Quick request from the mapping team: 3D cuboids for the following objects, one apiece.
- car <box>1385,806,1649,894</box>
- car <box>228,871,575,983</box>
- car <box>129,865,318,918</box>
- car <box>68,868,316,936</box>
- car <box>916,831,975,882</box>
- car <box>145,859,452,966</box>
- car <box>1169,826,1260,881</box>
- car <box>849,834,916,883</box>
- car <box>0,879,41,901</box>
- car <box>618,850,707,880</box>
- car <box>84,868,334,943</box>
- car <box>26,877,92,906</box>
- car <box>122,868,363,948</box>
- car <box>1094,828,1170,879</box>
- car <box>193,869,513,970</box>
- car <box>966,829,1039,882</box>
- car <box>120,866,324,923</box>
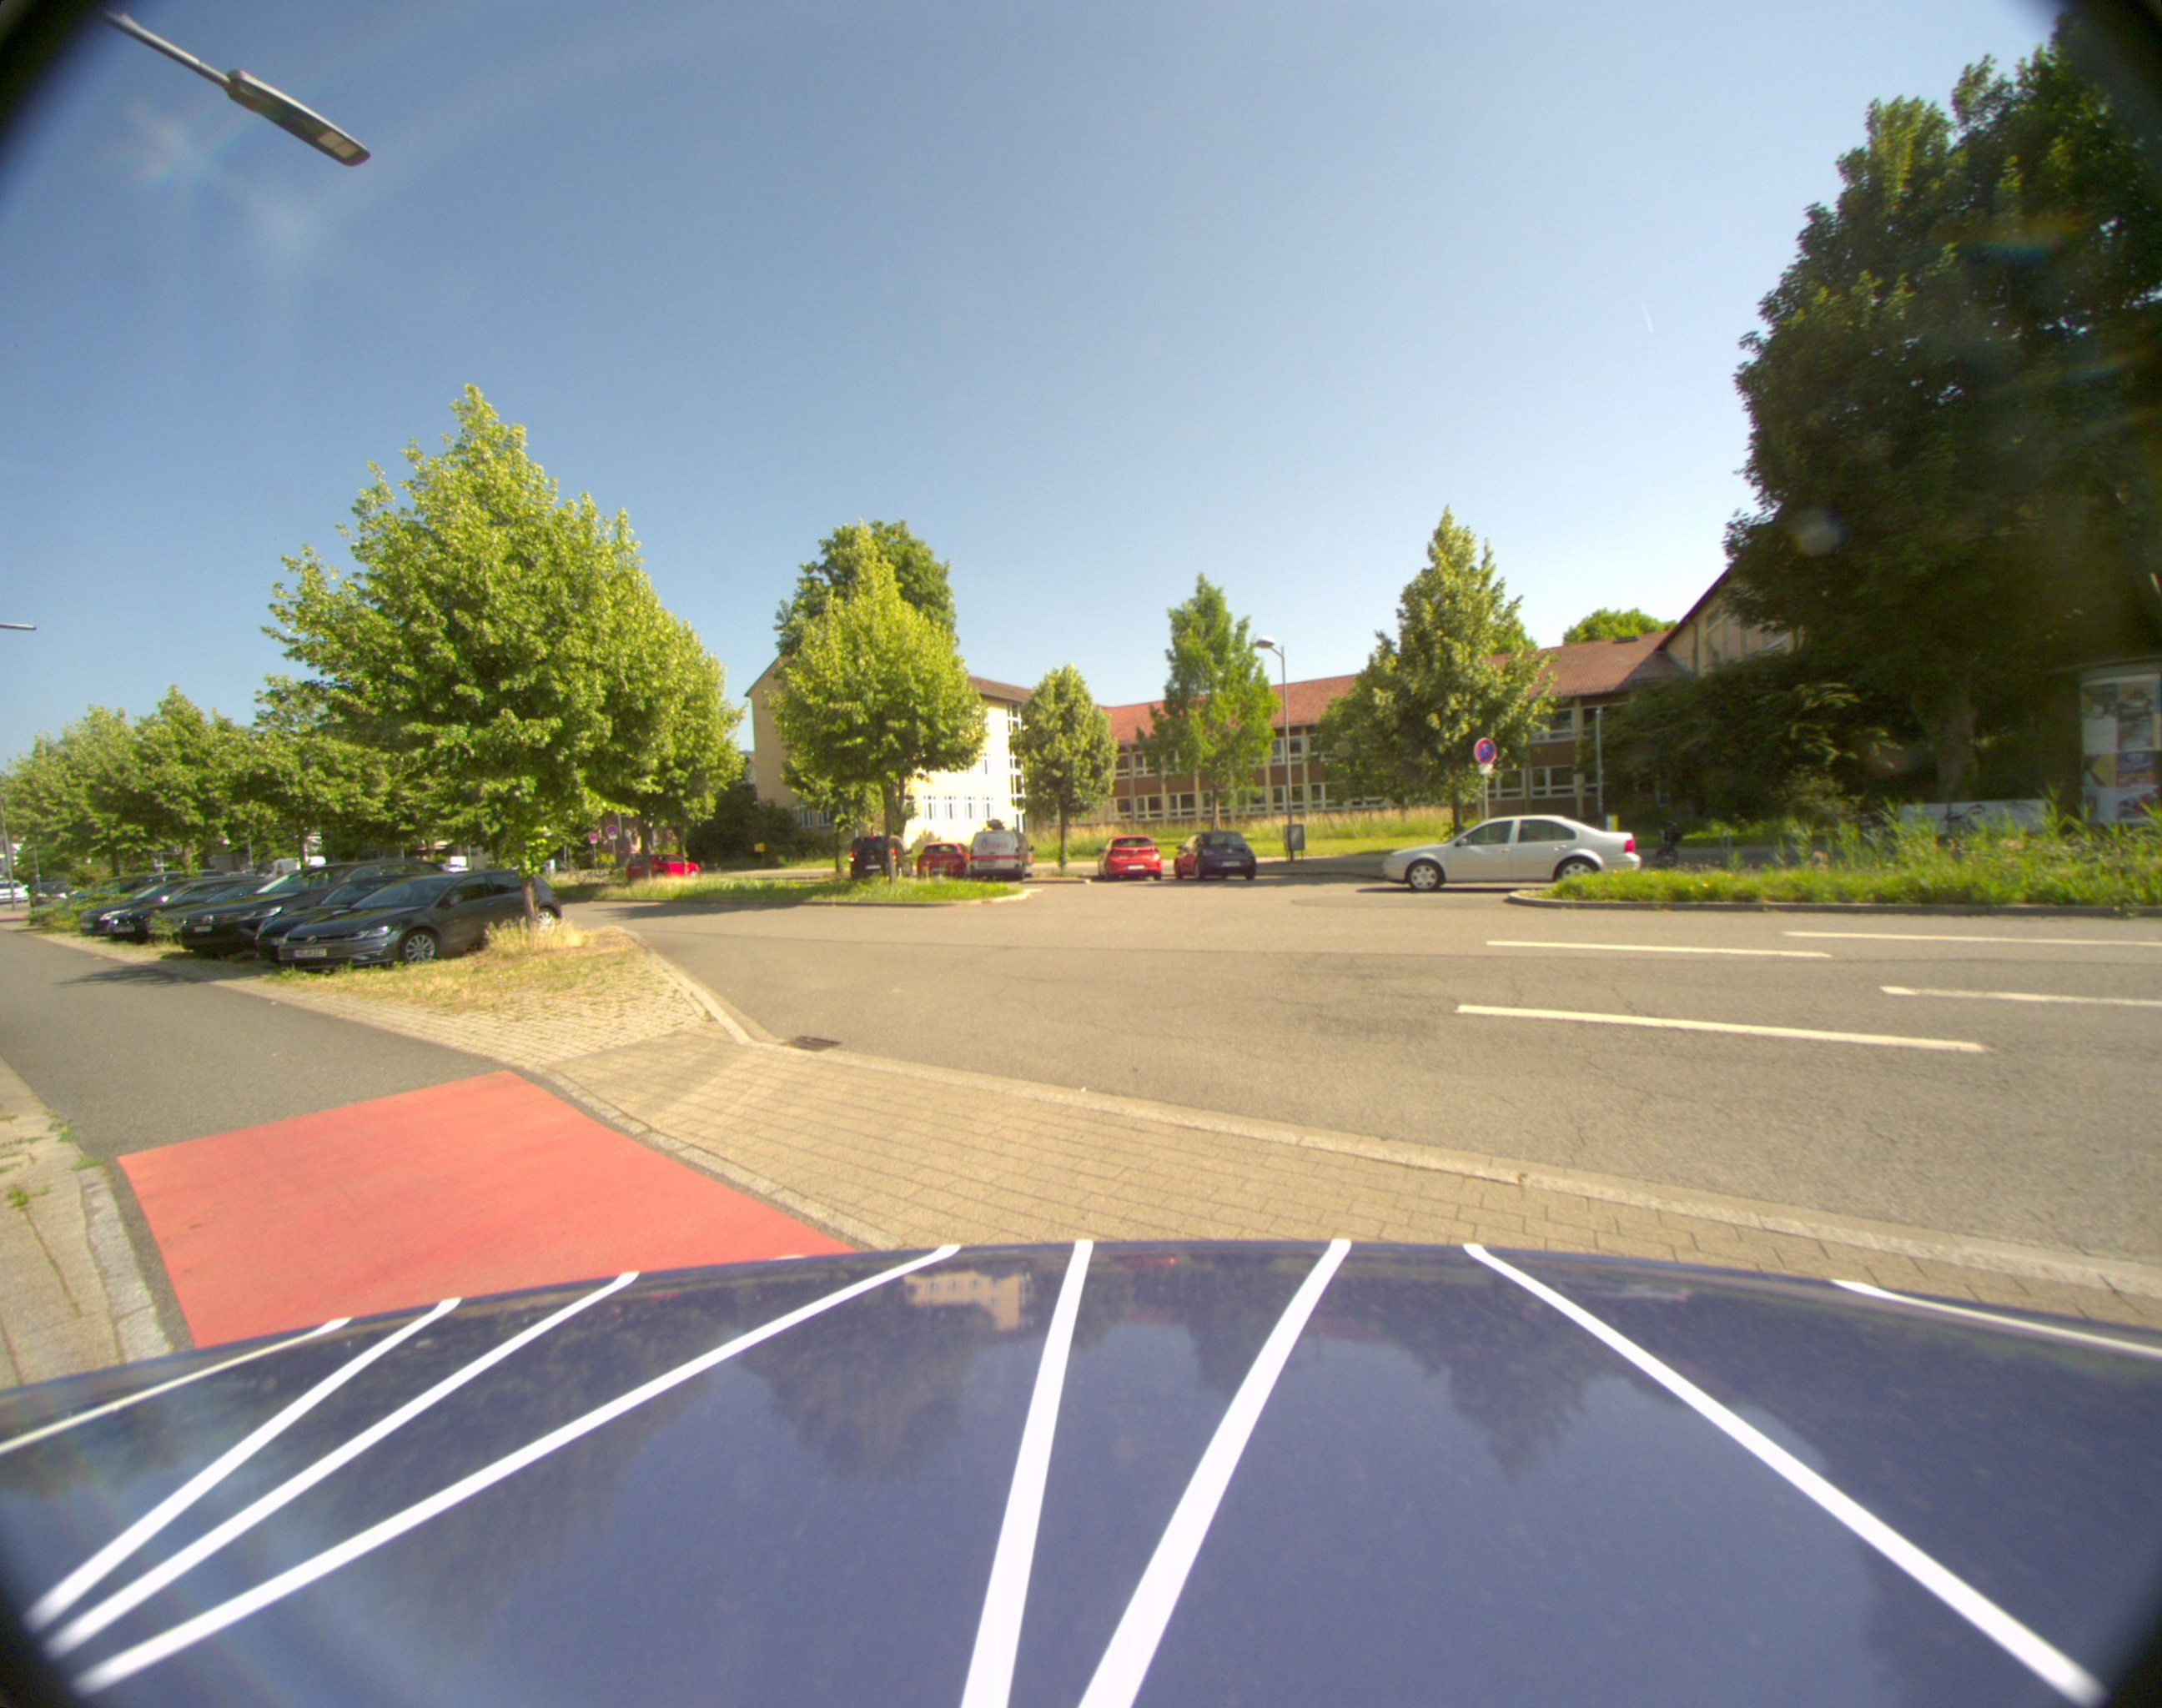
[{"bbox_3d":[8.234,-0.055,14.617,4.149,1.475,1.743,-2,2,31],"label":"car"},{"bbox_3d":[-11.227,1.111,13.076,1.879,1.409,4.227,-2,1,6],"label":"car"},{"bbox_3d":[-31.342,1.315,27.943,1.700,1.473,4.231,-2,3,28],"label":"car"},{"bbox_3d":[-25.423,1.304,21.969,1.701,1.473,4.229,-2,2,17],"label":"car"},{"bbox_3d":[-5.033,0.067,28.685,1.881,1.712,4.223,-2,1,-7],"label":"car"},{"bbox_3d":[-15.825,1.069,15.803,1.703,1.710,4.402,-2,1,0],"label":"car"},{"bbox_3d":[3.948,-0.034,23.146,1.741,1.451,4.224,-2,1,-3],"label":"car"},{"bbox_3d":[-7.592,0.126,29.486,1.881,1.712,4.223,-2,1,-7],"label":"car"},{"bbox_3d":[-80.909,2.723,57.689,4.215,1.473,1.707,-2,3,30],"label":"car"},{"bbox_3d":[-21.226,0.538,38.682,1.878,1.383,3.730,-1,1,14],"label":"car"},{"bbox_3d":[-23.018,1.271,20.367,1.704,1.473,4.224,-3,2,0],"label":"car"},{"bbox_3d":[-59.679,2.161,44.352,4.215,1.473,1.707,-2,3,30],"label":"car"},{"bbox_3d":[-20.581,1.231,18.968,1.705,1.473,4.220,-3,2,-10],"label":"car"},{"bbox_3d":[1.552,-0.047,24.598,1.880,1.451,4.224,-2,1,-3],"label":"car"},{"bbox_3d":[-13.749,1.138,14.796,1.879,1.473,4.227,-2,1,6],"label":"car"},{"bbox_3d":[-2.721,0.022,27.270,1.879,1.712,4.226,-2,1,3],"label":"car"},{"bbox_3d":[-29.108,1.318,25.928,1.700,1.473,4.231,-2,3,28],"label":"car"}]
